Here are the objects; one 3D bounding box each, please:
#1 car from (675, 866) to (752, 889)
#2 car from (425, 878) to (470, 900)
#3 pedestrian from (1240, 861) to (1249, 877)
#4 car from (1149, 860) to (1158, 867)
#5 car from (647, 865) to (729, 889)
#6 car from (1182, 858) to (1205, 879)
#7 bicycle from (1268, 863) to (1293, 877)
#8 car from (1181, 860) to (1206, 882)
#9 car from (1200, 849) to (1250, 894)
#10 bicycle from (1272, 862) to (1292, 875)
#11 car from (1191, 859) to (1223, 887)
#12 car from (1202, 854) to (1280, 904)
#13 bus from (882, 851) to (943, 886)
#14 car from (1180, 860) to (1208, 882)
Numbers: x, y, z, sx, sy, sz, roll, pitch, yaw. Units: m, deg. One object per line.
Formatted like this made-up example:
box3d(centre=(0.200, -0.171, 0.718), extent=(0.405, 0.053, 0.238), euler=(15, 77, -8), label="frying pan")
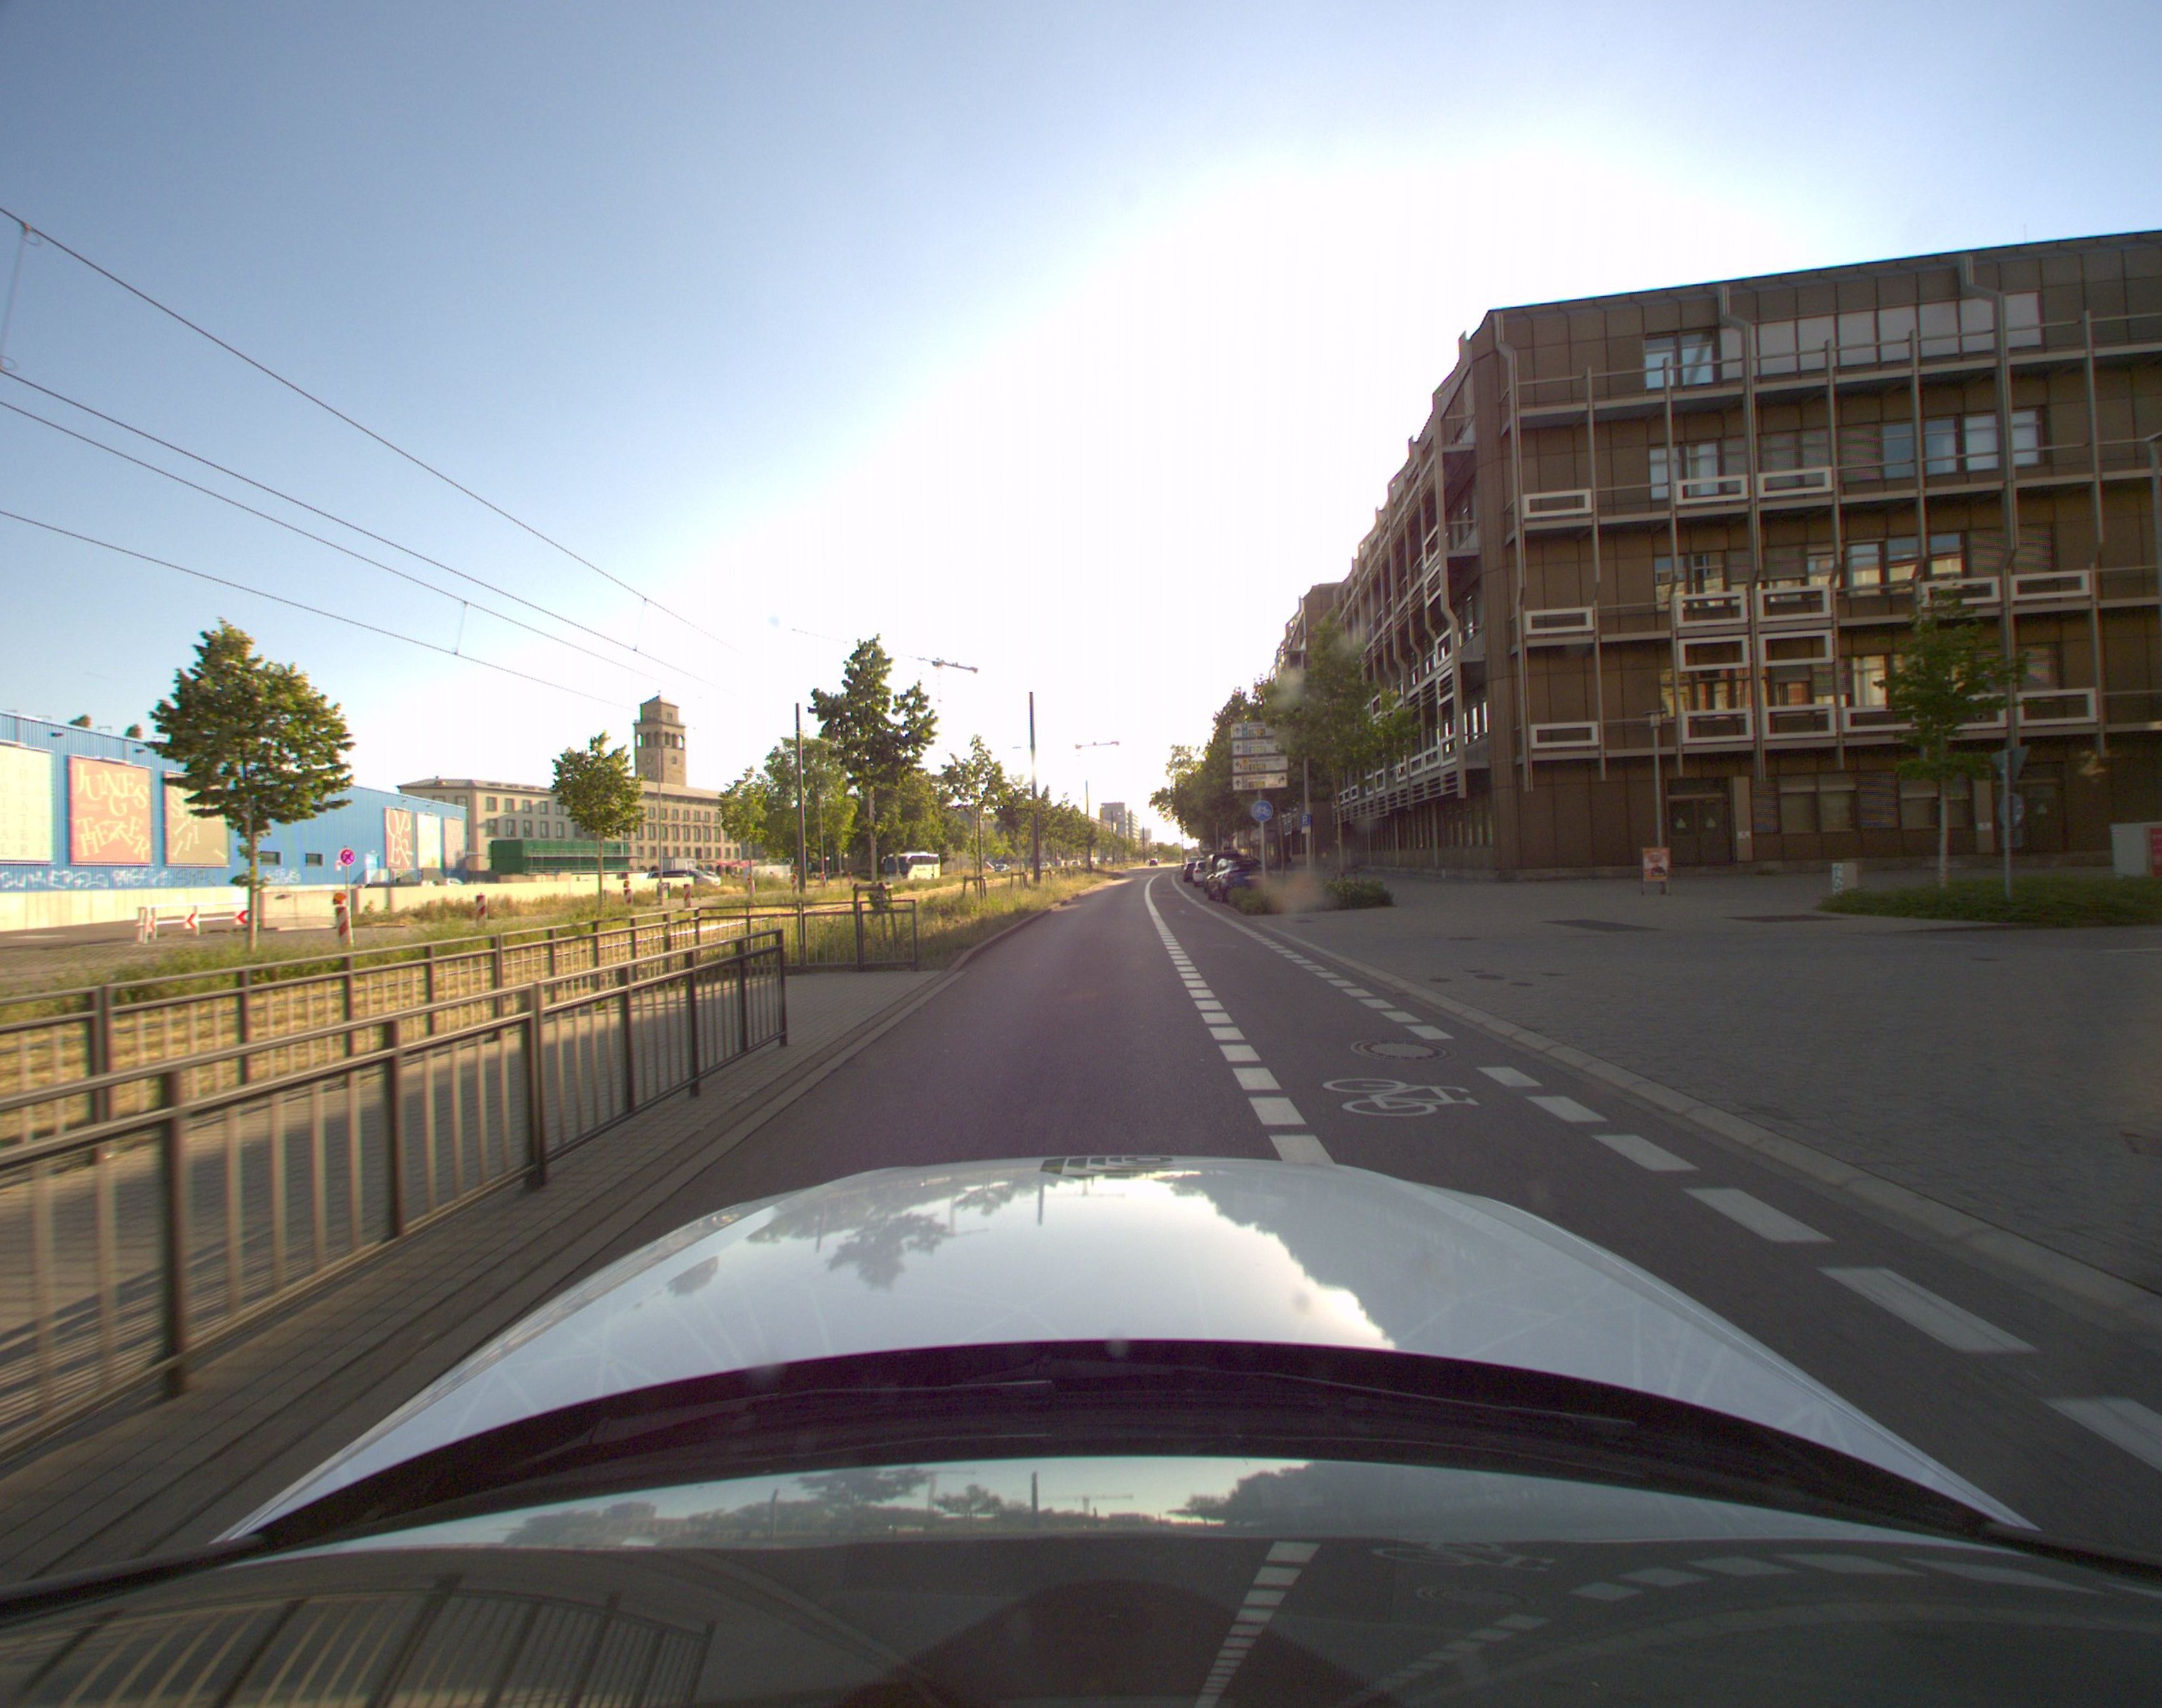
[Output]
box3d(centre=(-29.311, 1.847, 65.031), extent=(5.202, 1.717, 2.128), euler=(-1, -1, 5), label="car")
box3d(centre=(-48.712, 2.659, 62.739), extent=(1.412, 1.636, 4.198), euler=(-1, -1, -18), label="car")
box3d(centre=(17.405, 1.557, 86.881), extent=(0.785, 1.648, 1.139), euler=(-2, -1, 7), label="pedestrian")
box3d(centre=(15.407, 2.029, 172.380), extent=(1.767, 1.428, 4.007), euler=(-1, -1, 7), label="car")
box3d(centre=(-30.016, 1.757, 62.285), extent=(5.202, 1.717, 2.128), euler=(-1, -1, 5), label="car")
box3d(centre=(9.682, 1.259, 70.426), extent=(1.719, 1.688, 4.521), euler=(-4, -1, 5), label="car")
box3d(centre=(16.793, 1.377, 68.590), extent=(1.893, 1.093, 0.392), euler=(-3, -2, 0), label="bicycle")
box3d(centre=(8.902, 1.324, 64.521), extent=(1.719, 1.622, 4.222), euler=(-4, -1, 5), label="car")
box3d(centre=(6.657, 0.804, 38.126), extent=(1.727, 1.919, 4.397), euler=(-3, -1, 4), label="car")
box3d(centre=(17.454, 1.270, 70.885), extent=(1.617, 1.082, 0.393), euler=(-3, -2, 8), label="bicycle")
box3d(centre=(7.373, 1.109, 47.842), extent=(1.655, 1.490, 4.211), euler=(-4, -1, 7), label="car")
box3d(centre=(5.910, 0.910, 30.631), extent=(1.925, 1.598, 4.698), euler=(-3, -1, 0), label="car")
box3d(centre=(-18.611, 1.567, 91.232), extent=(2.784, 3.595, 12.720), euler=(-1, -1, 7), label="bus")
box3d(centre=(8.140, 1.219, 58.886), extent=(1.785, 1.449, 4.384), euler=(-4, -1, 6), label="car")
